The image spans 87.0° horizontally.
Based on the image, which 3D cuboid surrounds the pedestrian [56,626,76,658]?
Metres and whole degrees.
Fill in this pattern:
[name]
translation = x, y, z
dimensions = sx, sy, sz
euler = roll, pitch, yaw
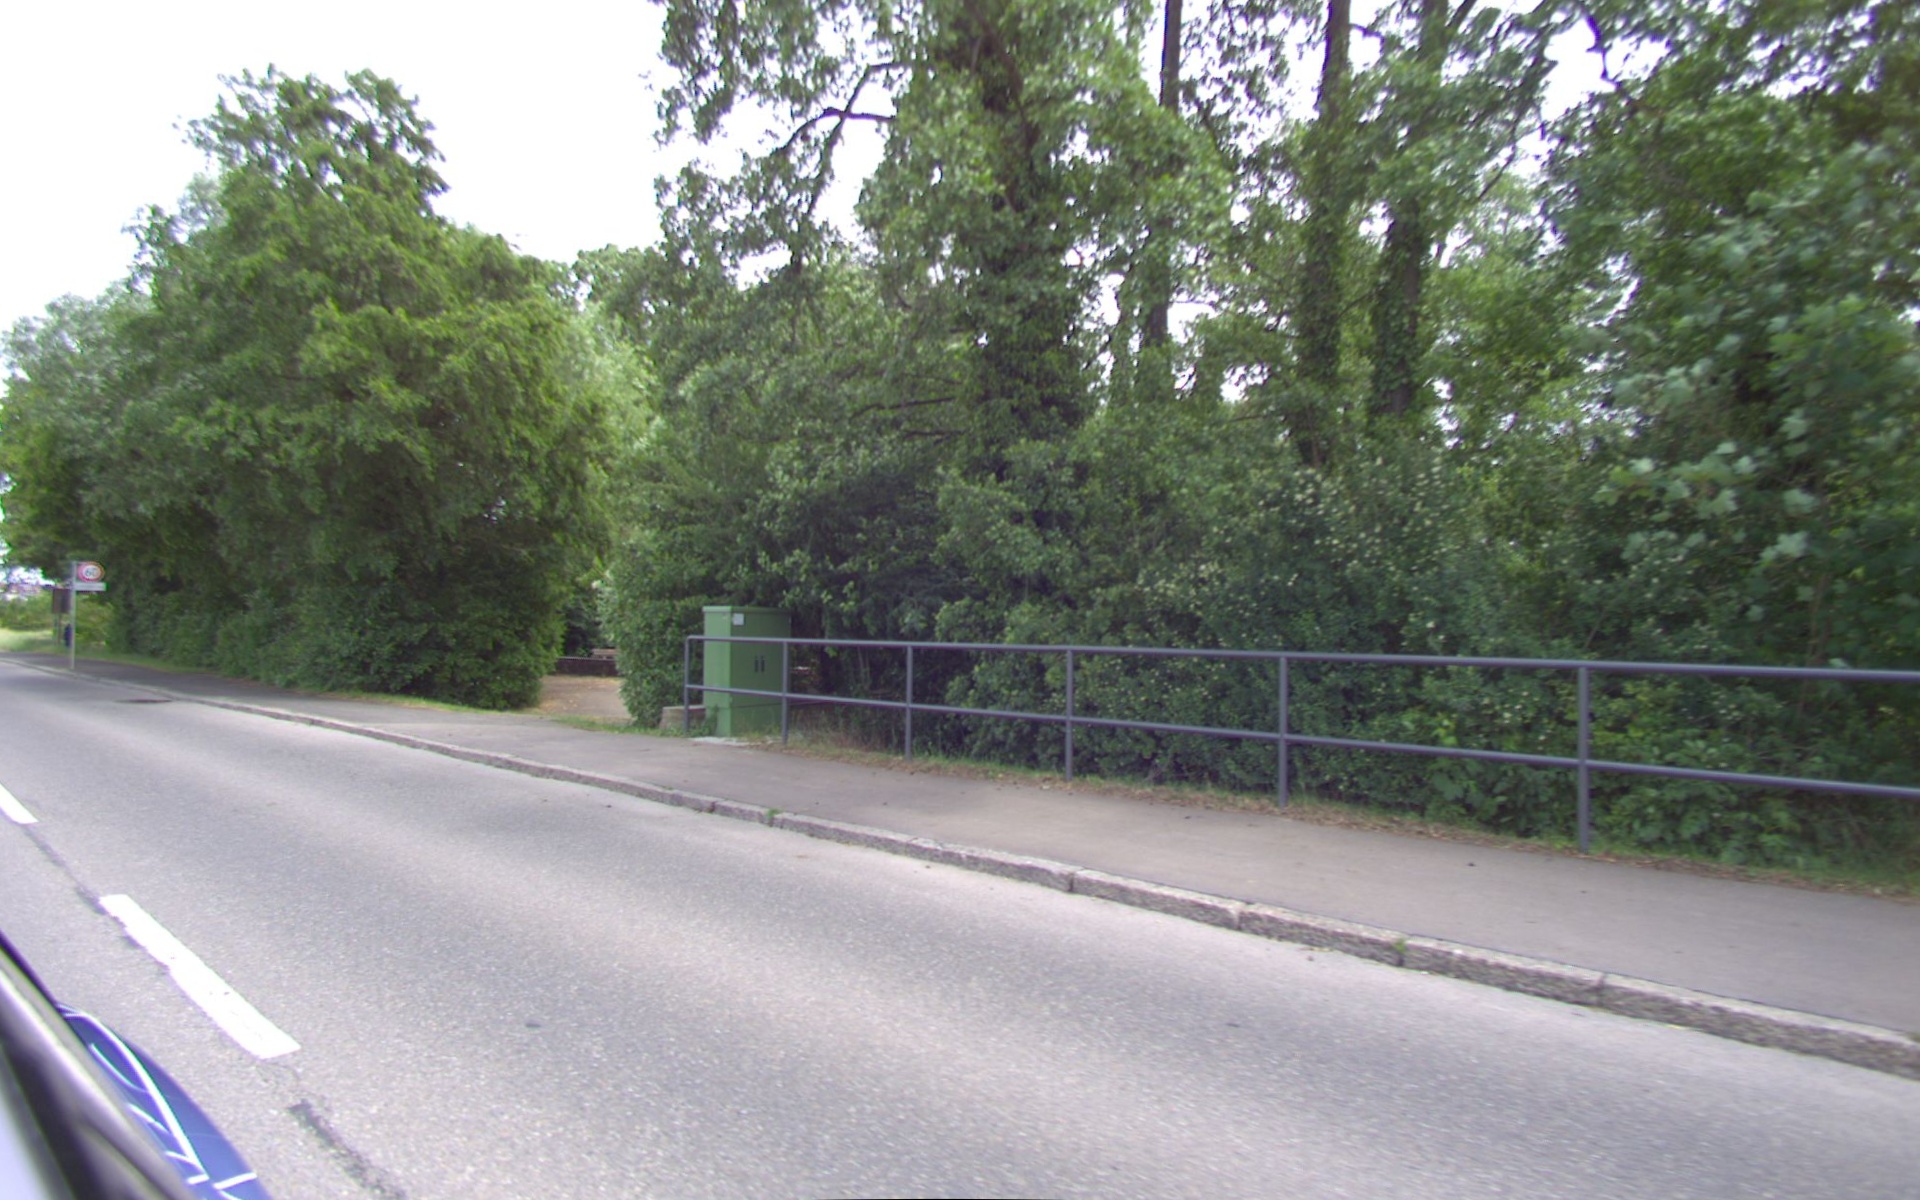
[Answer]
[pedestrian]
translation = -45.865, 2.136, 51.904
dimensions = 0.695, 1.606, 0.708
euler = 1, -4, -38
